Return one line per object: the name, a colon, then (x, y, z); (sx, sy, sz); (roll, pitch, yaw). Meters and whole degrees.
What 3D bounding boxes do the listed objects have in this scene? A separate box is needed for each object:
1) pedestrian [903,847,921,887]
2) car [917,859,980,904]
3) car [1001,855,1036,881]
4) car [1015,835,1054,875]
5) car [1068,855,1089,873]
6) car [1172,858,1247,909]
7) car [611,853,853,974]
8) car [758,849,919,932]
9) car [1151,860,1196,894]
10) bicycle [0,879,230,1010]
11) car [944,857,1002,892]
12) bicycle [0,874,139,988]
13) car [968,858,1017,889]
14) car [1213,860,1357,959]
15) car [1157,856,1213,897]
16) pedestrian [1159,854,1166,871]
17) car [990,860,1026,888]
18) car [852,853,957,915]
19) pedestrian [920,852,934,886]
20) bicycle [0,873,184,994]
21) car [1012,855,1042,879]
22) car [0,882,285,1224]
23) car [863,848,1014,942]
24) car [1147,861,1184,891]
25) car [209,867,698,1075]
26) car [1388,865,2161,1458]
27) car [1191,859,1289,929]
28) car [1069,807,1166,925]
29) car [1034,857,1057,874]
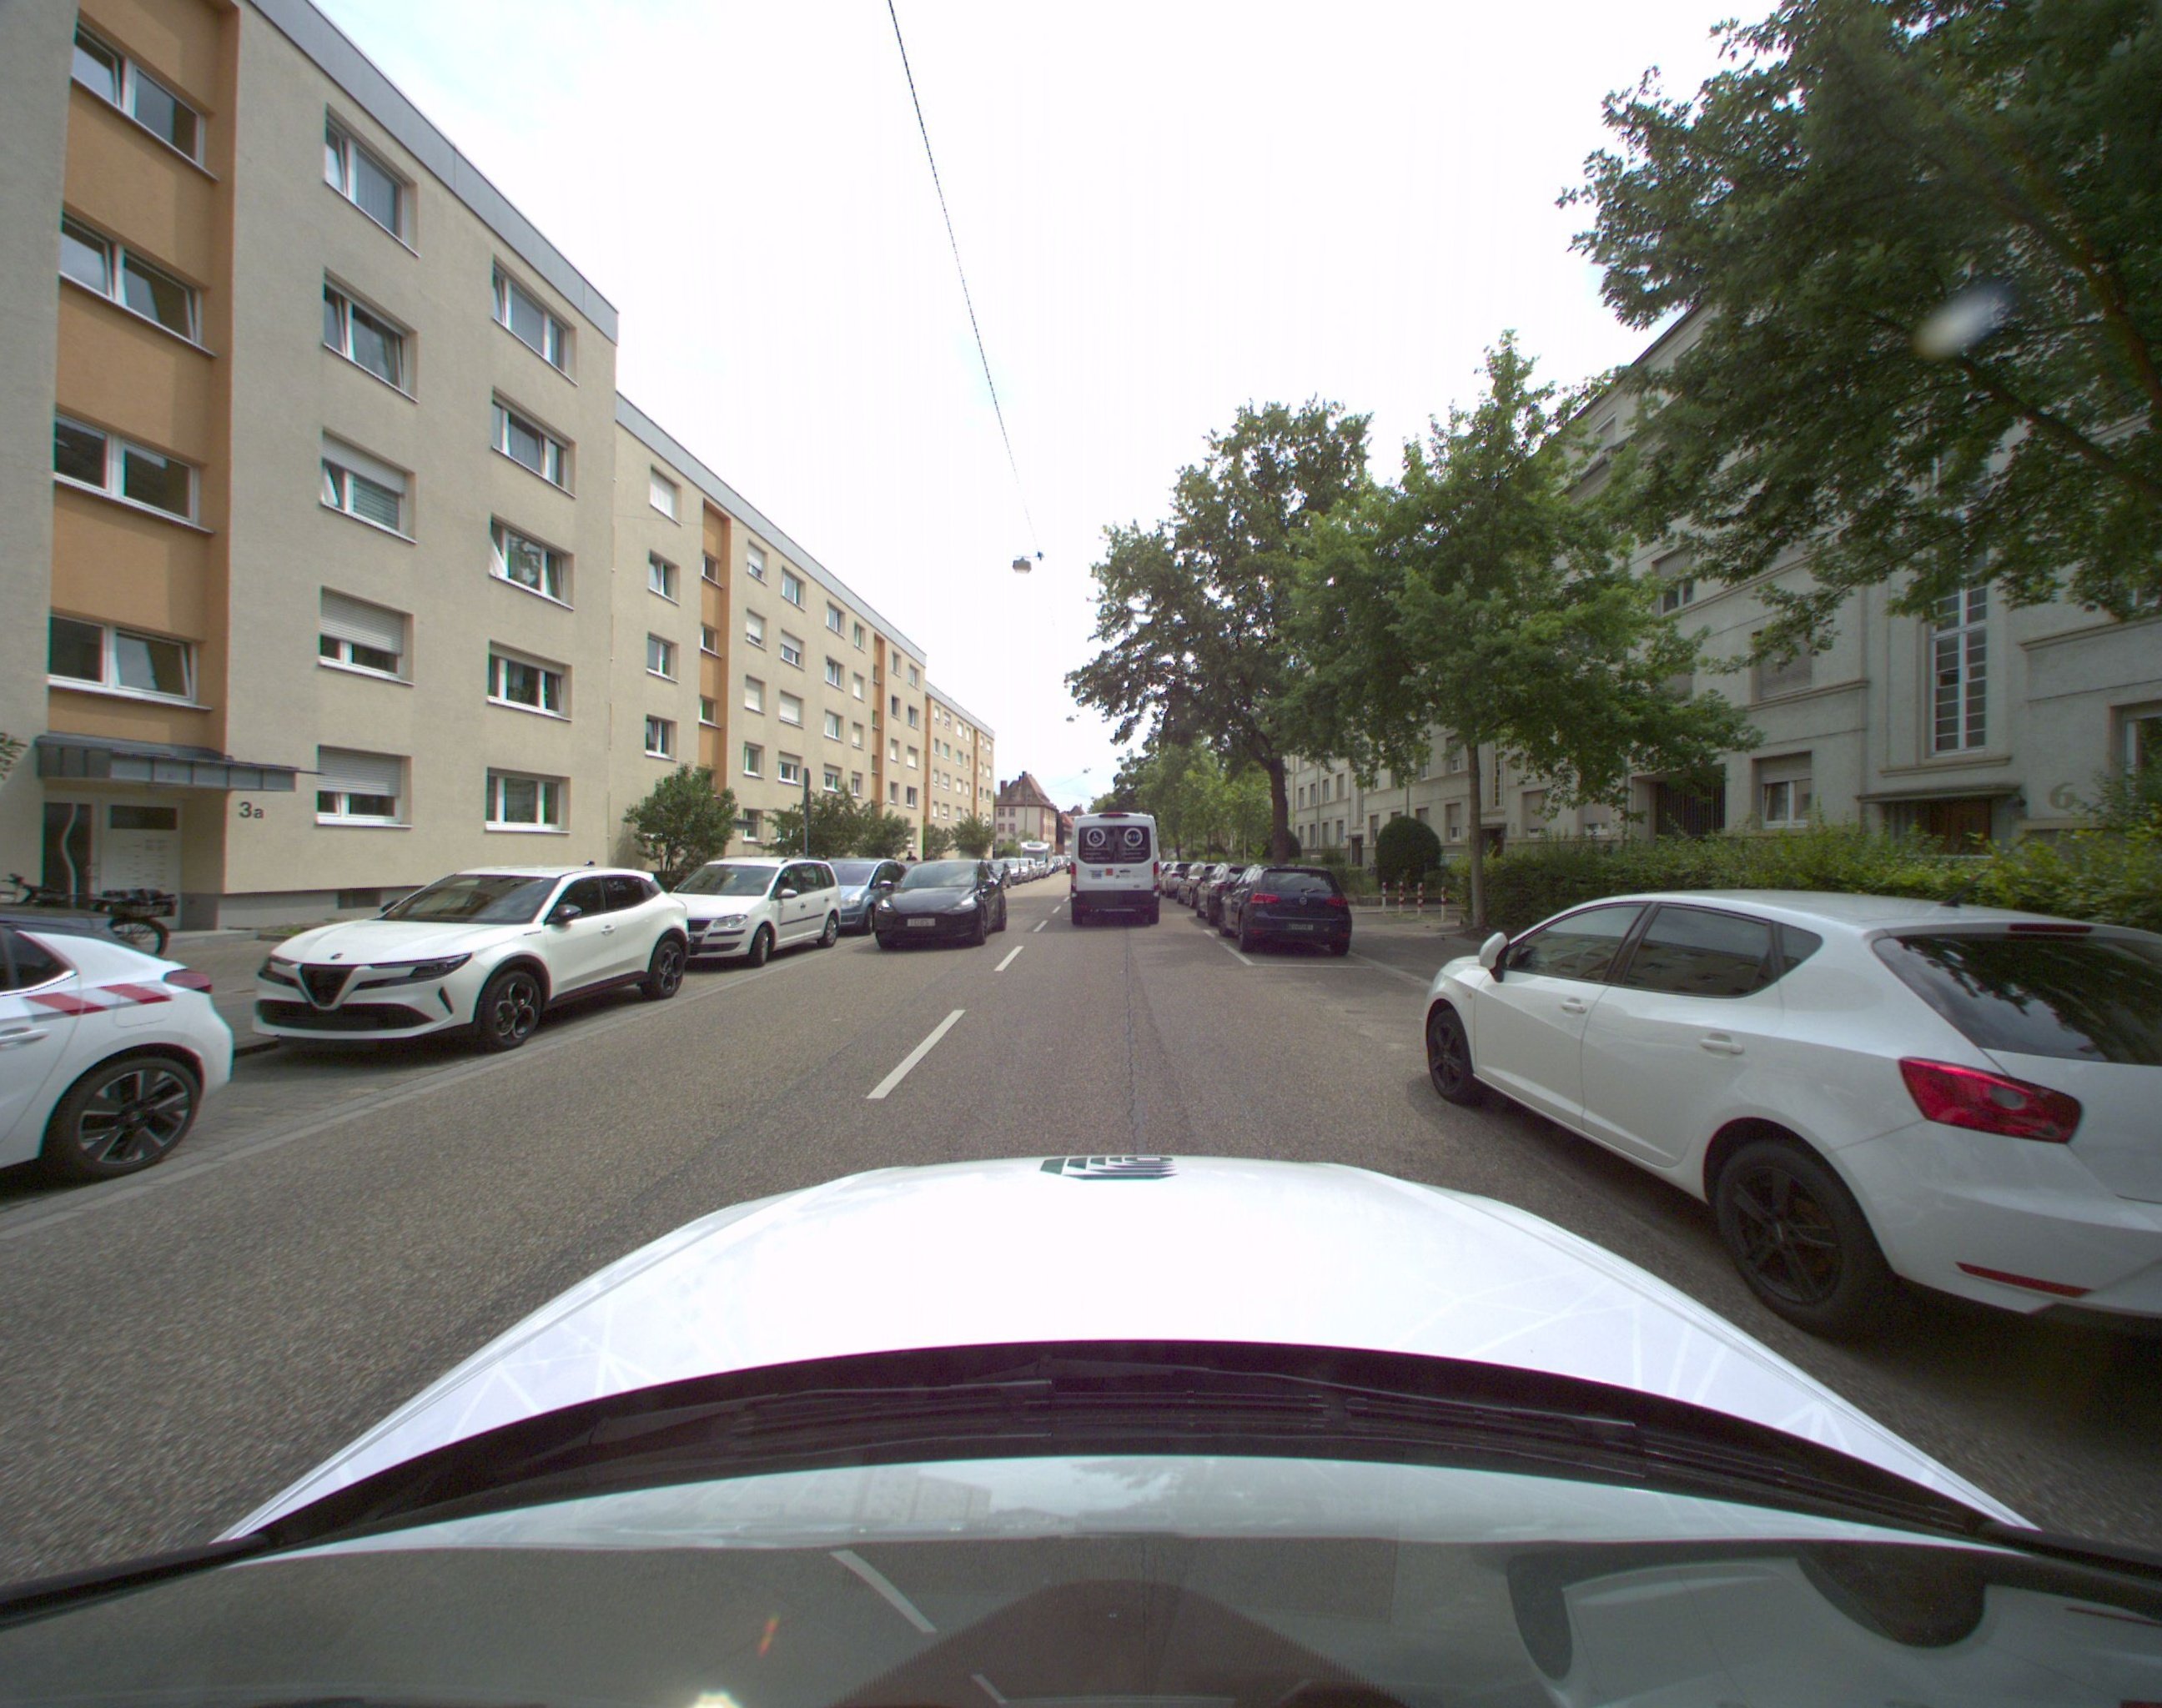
pedestrian: (-7.832, 0.583, 37.847); (0.617, 1.813, 0.899); (1, -1, -1)
car: (-4.923, 0.981, 30.729); (1.664, 1.562, 3.852); (2, 0, 1)
car: (-4.097, 0.895, 53.925); (1.748, 1.579, 4.571); (2, 0, 3)
car: (-3.701, 0.075, 66.124); (2.501, 3.024, 7.398); (2, 0, 1)
car: (-0.190, 0.920, 76.914); (1.811, 1.586, 4.437); (-1, 0, 1)
car: (4.100, 0.895, 26.649); (1.691, 1.469, 4.754); (2, 0, 1)
car: (-5.450, 0.838, 13.474); (1.689, 1.613, 4.483); (2, 0, 5)
car: (-5.338, 0.745, 18.721); (1.934, 1.613, 4.866); (2, 0, 4)
car: (4.279, 1.033, 38.114); (1.664, 1.400, 3.852); (3, 0, 1)
bicycle: (-11.057, 0.947, 9.221); (0.575, 1.251, 1.940); (0, 1, 12)
car: (-4.793, 0.886, 36.718); (1.810, 1.483, 3.888); (1, 0, 4)
bicycle: (-12.474, 0.889, 9.456); (0.559, 1.251, 1.969); (0, 1, 12)
car: (-4.518, 0.971, 42.243); (1.810, 1.483, 4.119); (2, 0, 3)
car: (3.468, 0.866, 14.577); (1.690, 1.469, 4.104); (2, 0, 3)
car: (4.128, 0.864, 32.898); (1.691, 1.469, 4.718); (2, 0, 1)
pedestrian: (8.875, 0.917, 88.237); (0.527, 1.828, 0.517); (0, -1, -41)
car: (-4.338, 1.143, 48.684); (1.717, 1.539, 4.005); (0, 1, 1)
car: (-5.082, 0.831, 24.073); (1.934, 1.613, 4.304); (2, 0, 2)
pedestrian: (-8.268, 0.783, 43.708); (0.617, 1.813, 0.803); (0, -1, -1)
bicycle: (-11.822, 0.880, 9.349); (0.532, 1.251, 2.052); (0, 1, 12)
car: (-3.882, 0.913, 59.125); (1.682, 1.579, 4.595); (2, 0, 1)
car: (-5.806, 0.919, 2.955); (1.701, 1.473, 3.993); (2, 0, 4)
car: (-2.610, 0.708, 16.103); (1.944, 1.521, 4.615); (-2, 0, 2)
car: (4.419, 1.111, 43.001); (1.771, 1.469, 4.620); (2, 0, 5)
car: (-5.663, 0.913, 8.131); (1.703, 1.473, 3.989); (2, 0, 0)
car: (3.157, 0.809, 4.109); (1.691, 1.450, 4.101); (1, 0, 0)
car: (3.756, 0.873, 19.950); (1.690, 1.469, 4.562); (2, 0, 3)
car: (0.800, 0.287, 19.896); (2.063, 2.540, 4.634); (-1, -1, 0)
car: (-3.404, 1.086, 78.690); (1.879, 1.579, 5.219); (2, 0, 1)
